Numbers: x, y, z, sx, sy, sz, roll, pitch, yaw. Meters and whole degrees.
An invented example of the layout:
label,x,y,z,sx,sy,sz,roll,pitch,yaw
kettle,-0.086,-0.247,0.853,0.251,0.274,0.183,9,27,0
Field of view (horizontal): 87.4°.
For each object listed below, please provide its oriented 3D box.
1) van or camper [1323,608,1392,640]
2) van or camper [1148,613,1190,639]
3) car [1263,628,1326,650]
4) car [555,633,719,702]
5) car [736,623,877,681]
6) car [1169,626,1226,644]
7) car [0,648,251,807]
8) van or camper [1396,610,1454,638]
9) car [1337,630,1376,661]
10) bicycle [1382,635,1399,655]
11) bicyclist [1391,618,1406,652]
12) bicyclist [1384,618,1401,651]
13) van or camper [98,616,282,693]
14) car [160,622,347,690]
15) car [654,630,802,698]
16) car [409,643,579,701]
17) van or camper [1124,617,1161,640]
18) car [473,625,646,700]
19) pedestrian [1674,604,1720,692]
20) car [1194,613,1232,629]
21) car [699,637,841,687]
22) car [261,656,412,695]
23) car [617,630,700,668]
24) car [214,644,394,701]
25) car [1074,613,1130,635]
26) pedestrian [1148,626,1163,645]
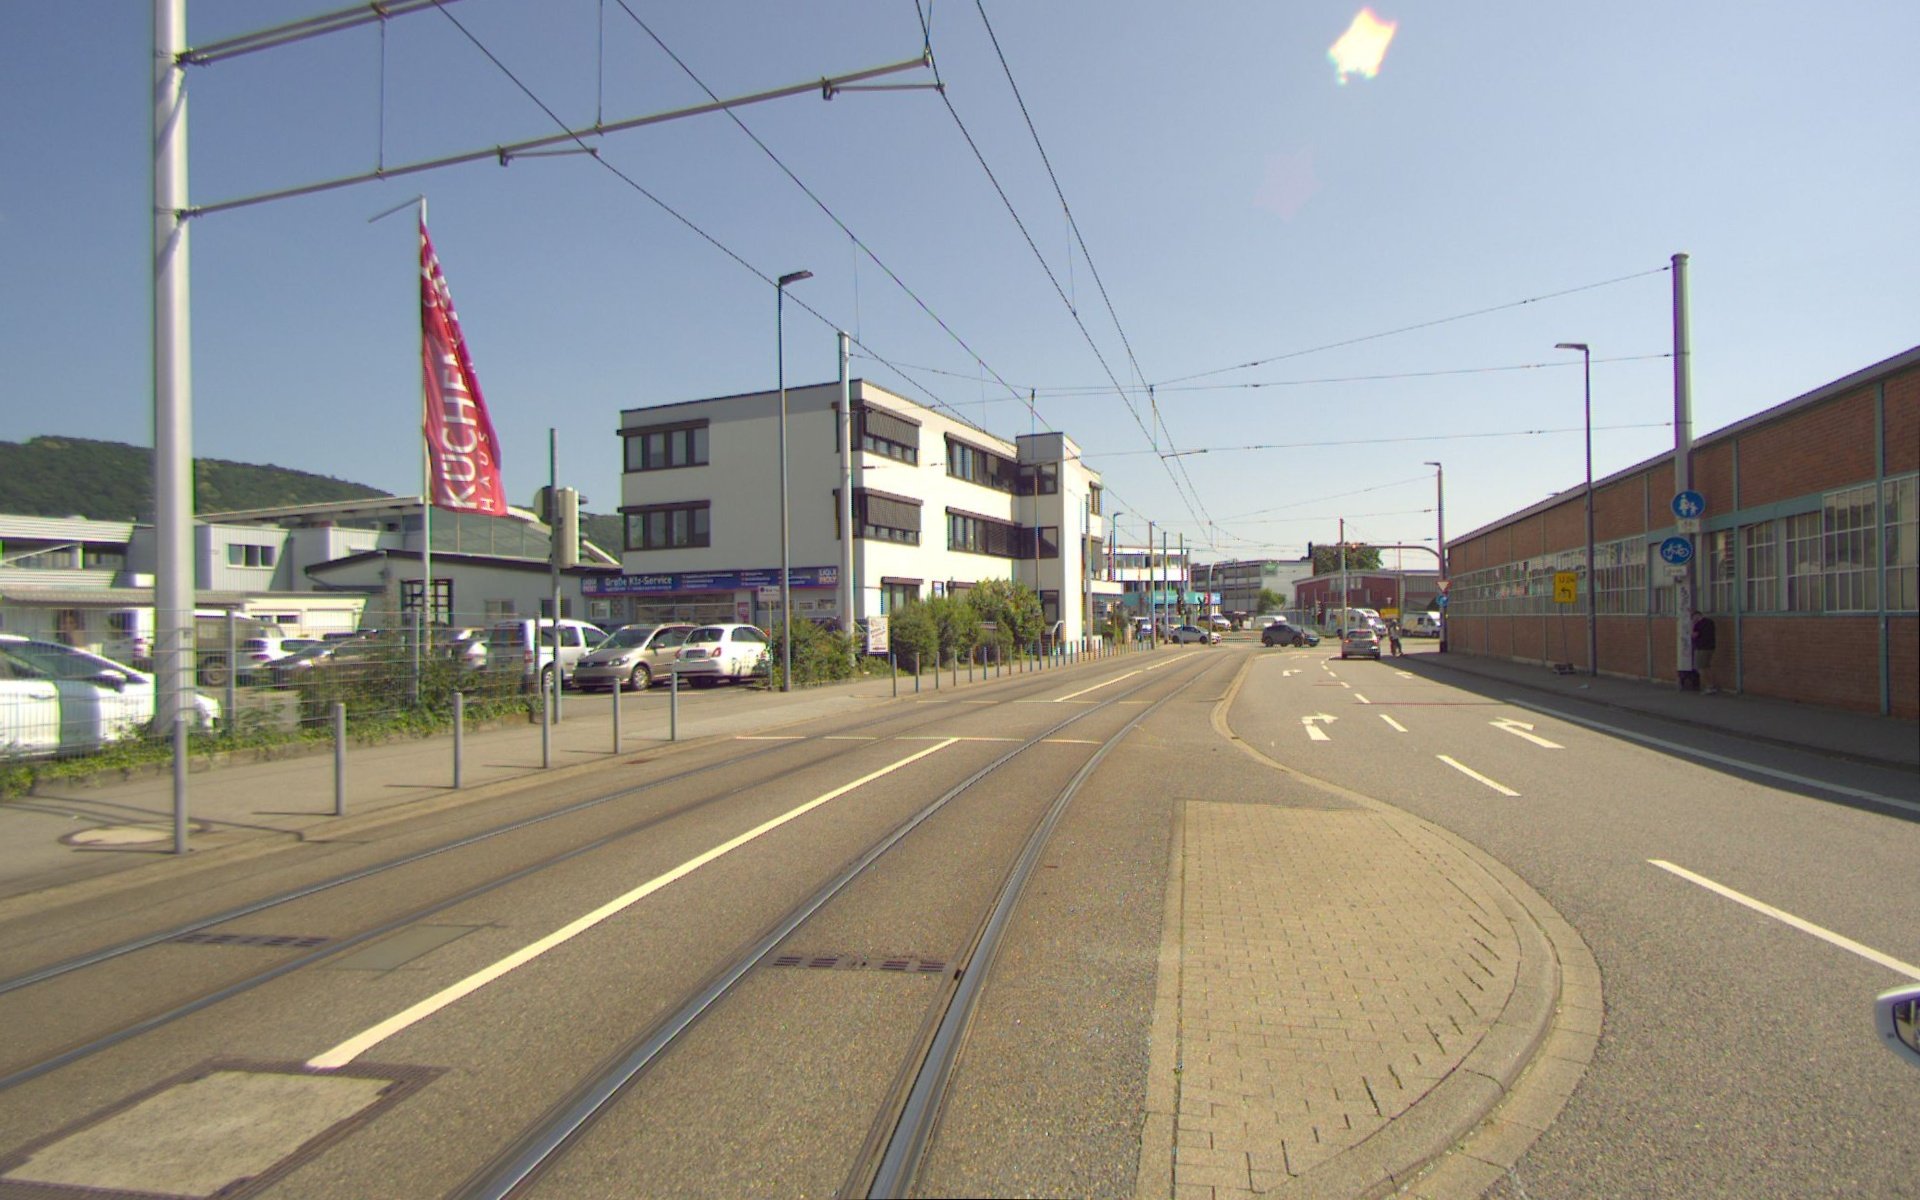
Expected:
label,x,y,z,sx,sy,sz,roll,pitch,yaw
van or camper,40.083,2.321,101.515,2.321,2.970,6.946,-1,1,-23
van or camper,21.155,2.589,102.045,2.002,2.327,5.799,-1,1,-11
car,24.413,2.826,73.335,3.944,1.528,1.869,-2,-2,43
car,-8.155,1.660,25.706,1.822,1.588,3.932,-2,-2,25
car,-4.822,1.637,31.662,3.921,1.728,2.000,-2,-2,20
car,19.366,2.882,82.044,4.147,1.393,1.792,-3,-2,43
car,-9.672,1.236,10.096,1.679,1.452,3.957,0,-2,17
van or camper,46.642,2.328,100.868,2.253,2.473,5.364,-1,2,-18
car,19.744,2.254,50.084,1.718,1.478,3.999,-1,-2,22
bicycle,23.088,2.398,53.882,0.781,1.035,2.150,-1,-1,22
bicyclist,24.199,1.927,55.418,0.696,1.834,0.983,-1,-1,21
bicyclist,23.136,1.829,53.738,0.773,1.744,1.146,-1,-1,21
van or camper,-25.233,1.707,33.140,1.747,2.336,4.601,-1,-1,21
car,-22.685,1.740,32.470,2.019,2.040,4.578,-2,-2,23
car,-5.795,1.570,25.559,1.708,1.562,3.834,-1,-2,24
car,-12.568,1.896,27.353,1.813,1.376,3.997,-1,-2,25
van or camper,18.387,2.866,101.535,1.965,2.041,4.999,-1,1,-12
car,-10.443,1.577,26.484,1.963,1.808,3.997,-1,-2,25
pedestrian,15.292,0.983,20.851,0.672,1.789,0.449,-1,1,19
car,28.753,2.386,114.427,1.912,1.782,5.107,0,-2,-15
car,-5.570,1.794,29.547,3.761,1.388,1.748,-1,-2,21
car,-18.556,2.220,30.053,1.717,0.996,3.485,-1,-2,25
car,-12.100,1.958,40.430,1.396,1.445,3.127,-2,-2,29
car,-20.545,2.230,31.693,1.954,1.578,4.423,-2,-2,23
car,10.805,1.817,76.426,3.922,1.539,1.999,-1,1,21
pedestrian,15.240,2.797,78.411,1.110,1.474,0.838,-1,-1,9
